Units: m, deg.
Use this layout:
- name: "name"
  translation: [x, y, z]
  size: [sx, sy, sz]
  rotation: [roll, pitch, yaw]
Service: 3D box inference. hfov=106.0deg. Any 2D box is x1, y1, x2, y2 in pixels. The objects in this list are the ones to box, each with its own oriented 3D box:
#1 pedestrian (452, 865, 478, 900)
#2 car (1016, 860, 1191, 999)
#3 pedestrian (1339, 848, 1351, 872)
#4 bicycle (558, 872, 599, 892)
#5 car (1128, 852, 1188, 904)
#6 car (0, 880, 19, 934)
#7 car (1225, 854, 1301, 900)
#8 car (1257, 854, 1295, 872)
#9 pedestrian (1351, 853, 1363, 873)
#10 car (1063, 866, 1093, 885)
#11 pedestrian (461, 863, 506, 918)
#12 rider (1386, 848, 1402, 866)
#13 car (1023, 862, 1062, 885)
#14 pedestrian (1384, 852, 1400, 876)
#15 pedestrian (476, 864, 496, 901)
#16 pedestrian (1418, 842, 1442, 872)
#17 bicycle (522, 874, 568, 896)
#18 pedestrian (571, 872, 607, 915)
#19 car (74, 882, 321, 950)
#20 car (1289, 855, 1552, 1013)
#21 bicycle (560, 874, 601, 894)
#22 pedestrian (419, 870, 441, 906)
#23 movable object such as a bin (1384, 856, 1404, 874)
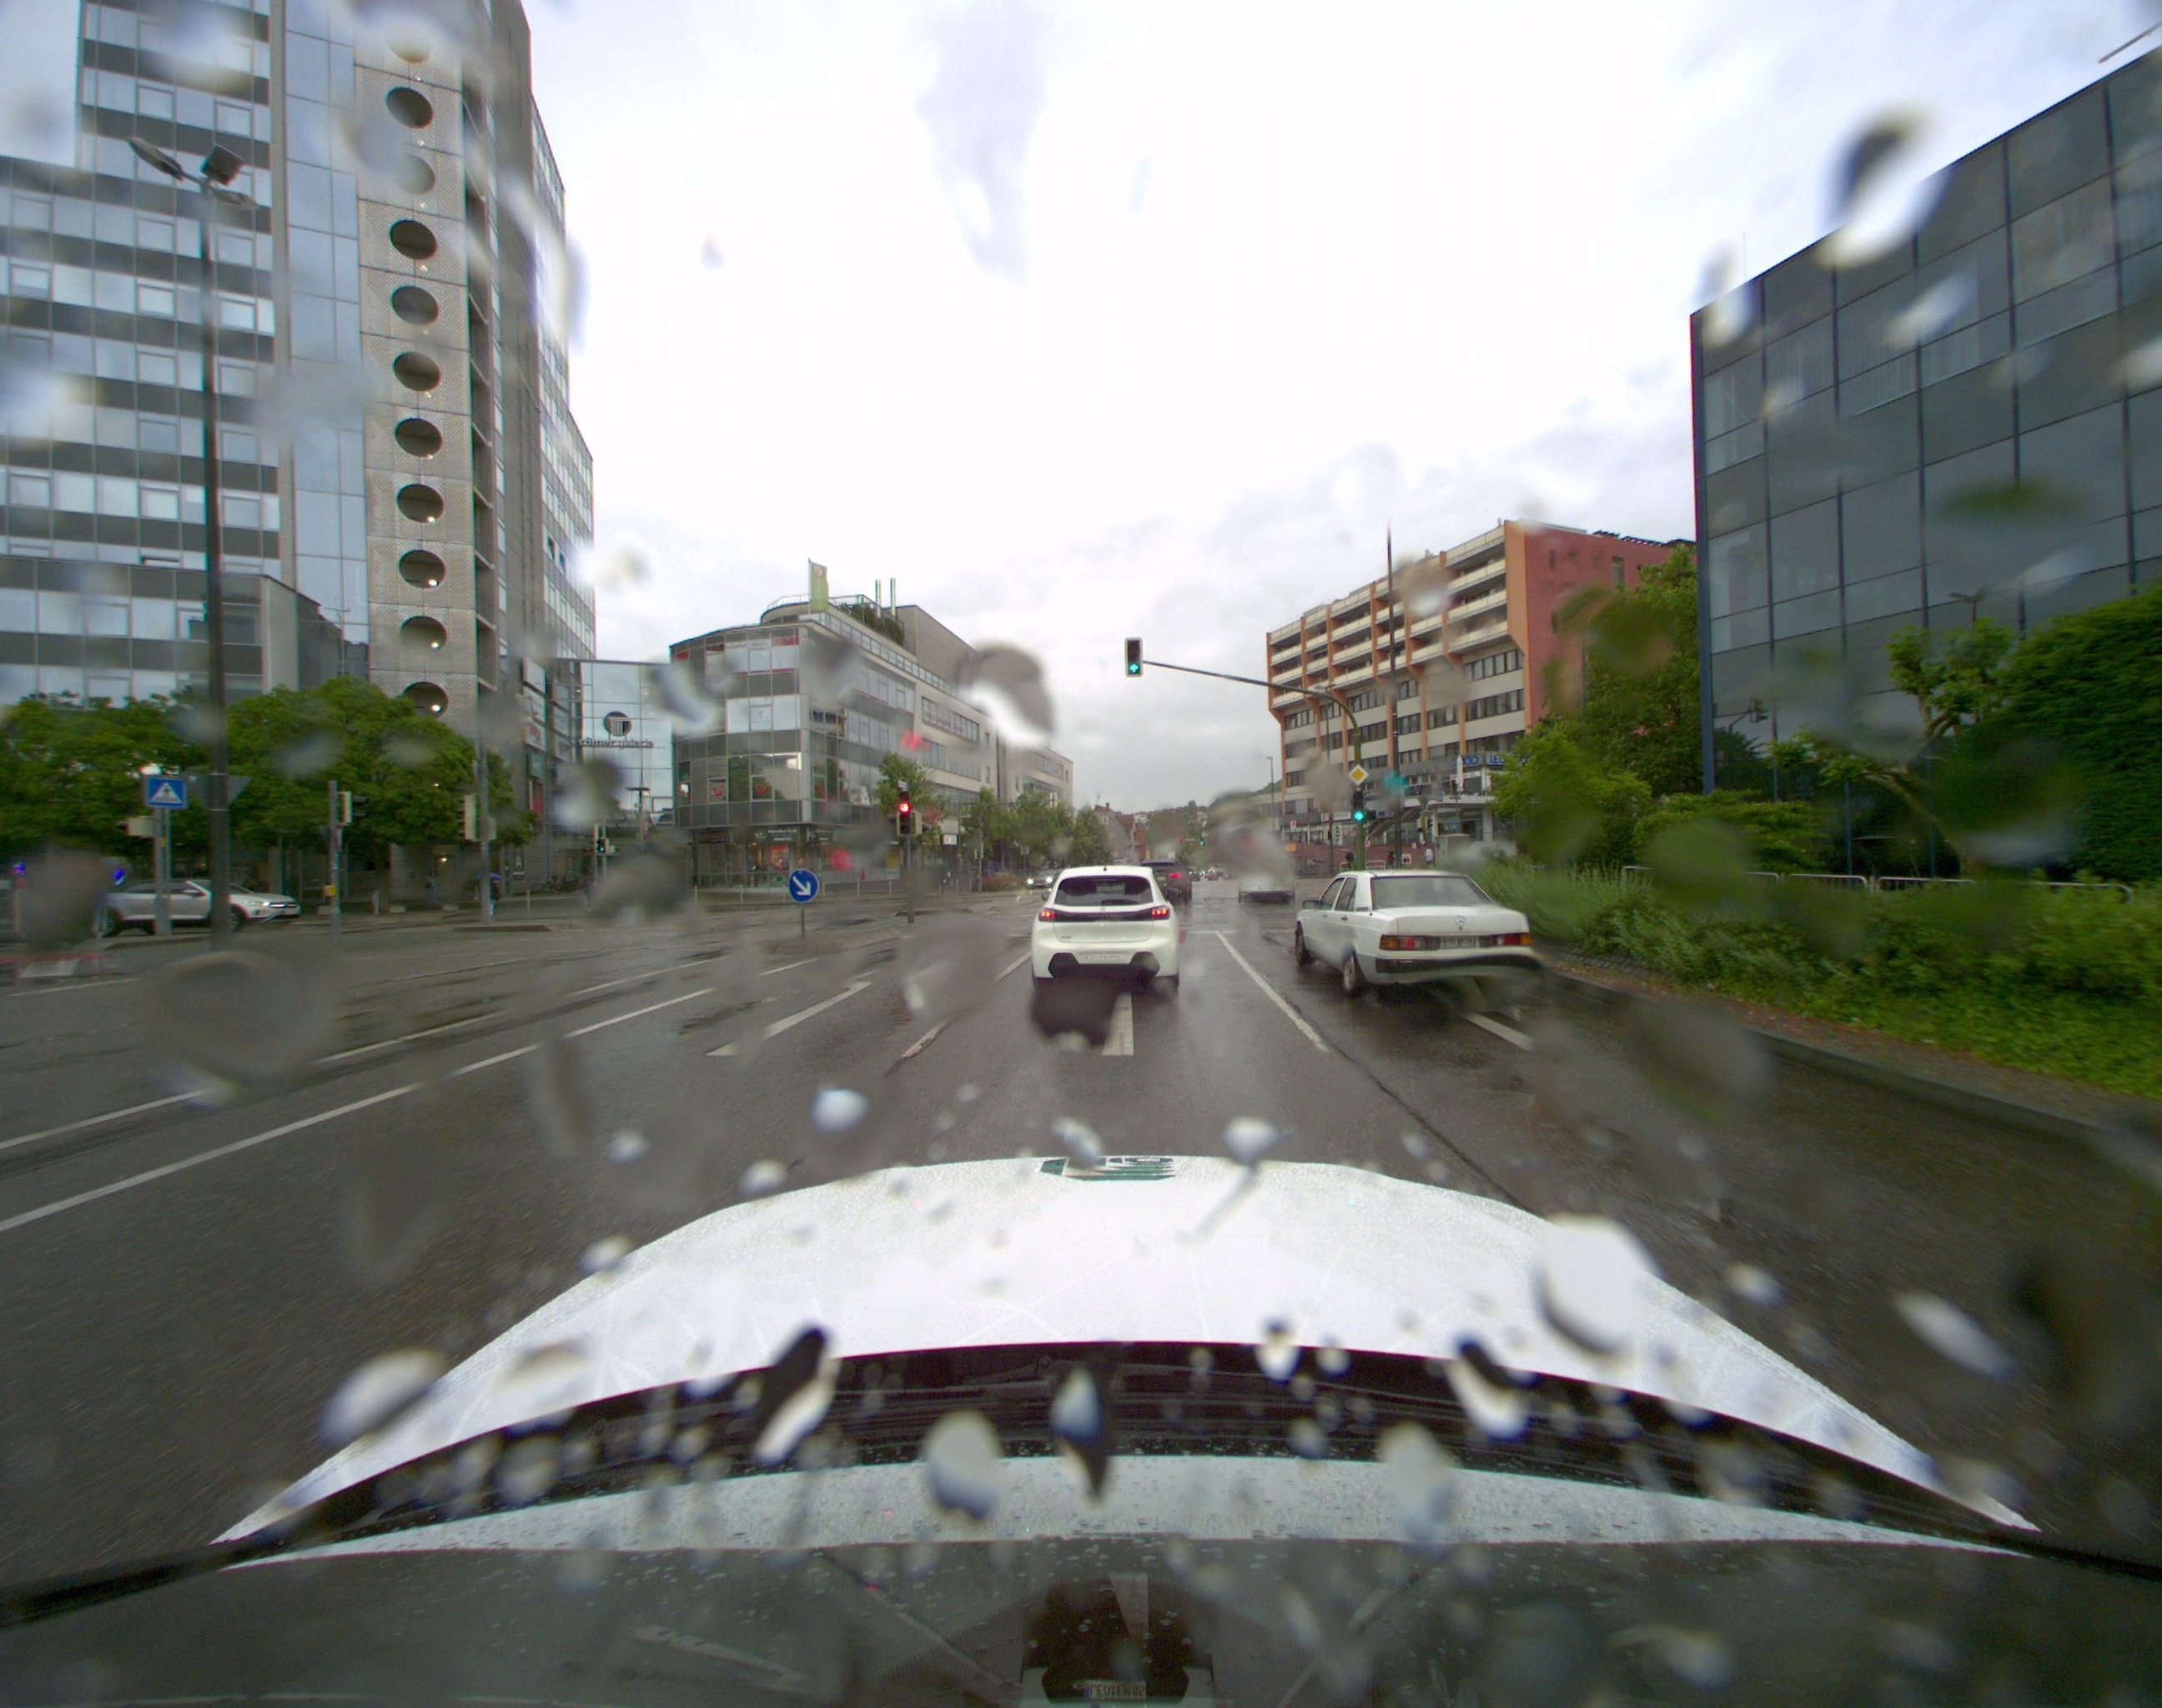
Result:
- name: "pedestrian"
  translation: [-33.771, 1.582, 44.674]
  size: [0.824, 1.868, 0.757]
  rotation: [-2, -1, 16]
- name: "car"
  translation: [0.382, 0.826, 10.675]
  size: [1.863, 1.462, 3.877]
  rotation: [-1, 0, 4]
- name: "pedestrian"
  translation: [17.592, 0.379, 54.282]
  size: [0.702, 1.607, 0.658]
  rotation: [0, 0, 15]
- name: "bicycle"
  translation: [-34.947, 1.941, 56.659]
  size: [2.282, 1.247, 0.672]
  rotation: [-2, -1, -22]
- name: "car"
  translation: [2.477, 0.771, 26.736]
  size: [1.807, 1.530, 3.816]
  rotation: [-1, -1, 4]
- name: "car"
  translation: [-30.741, 1.456, 20.823]
  size: [4.050, 1.420, 1.861]
  rotation: [-1, 0, -14]
- name: "car"
  translation: [5.948, 0.731, 26.968]
  size: [1.903, 1.400, 3.461]
  rotation: [-2, -1, 4]
- name: "car"
  translation: [25.088, 1.167, 105.085]
  size: [2.004, 2.226, 4.934]
  rotation: [-2, -1, -25]
- name: "pedestrian"
  translation: [18.527, 0.594, 54.666]
  size: [0.702, 1.346, 0.658]
  rotation: [-3, -2, 14]
- name: "car"
  translation: [-0.221, 1.984, 75.438]
  size: [1.762, 1.594, 4.602]
  rotation: [-6, -2, 11]
- name: "pedestrian"
  translation: [-22.938, 1.378, 31.313]
  size: [1.168, 2.014, 1.317]
  rotation: [-1, 0, -27]
- name: "rider"
  translation: [23.824, 0.191, 61.987]
  size: [0.916, 1.284, 1.094]
  rotation: [-5, 0, 10]
- name: "car"
  translation: [-2.872, 1.452, 61.480]
  size: [1.908, 1.632, 4.915]
  rotation: [-1, 0, 9]
- name: "pedestrian"
  translation: [22.466, 0.725, 58.834]
  size: [0.790, 1.668, 0.933]
  rotation: [-2, -1, 7]
- name: "pedestrian"
  translation: [-32.709, 1.537, 44.767]
  size: [0.715, 2.014, 0.759]
  rotation: [-1, -1, -22]
- name: "pedestrian"
  translation: [20.618, 0.177, 48.132]
  size: [0.826, 1.691, 1.128]
  rotation: [-2, -1, -1]
- name: "bicycle"
  translation: [-34.037, 1.965, 51.739]
  size: [2.282, 1.247, 0.672]
  rotation: [-2, -1, -22]
- name: "pedestrian"
  translation: [-21.770, 1.723, 36.017]
  size: [0.840, 1.819, 1.028]
  rotation: [-2, -1, 12]
- name: "car"
  translation: [-24.070, 1.639, 22.382]
  size: [4.200, 1.595, 1.860]
  rotation: [-1, 0, -16]
- name: "car"
  translation: [3.688, 0.777, 9.694]
  size: [1.626, 1.448, 4.273]
  rotation: [0, -1, 4]
- name: "bicycle"
  translation: [-33.783, 2.005, 55.007]
  size: [2.282, 1.247, 0.672]
  rotation: [-2, -1, -22]
- name: "pedestrian"
  translation: [-35.068, 1.812, 43.860]
  size: [0.823, 1.868, 0.758]
  rotation: [-3, -1, 43]
- name: "movable object such as a bin"
  translation: [23.844, 0.865, 62.001]
  size: [1.123, 1.332, 1.459]
  rotation: [-2, -1, 10]
